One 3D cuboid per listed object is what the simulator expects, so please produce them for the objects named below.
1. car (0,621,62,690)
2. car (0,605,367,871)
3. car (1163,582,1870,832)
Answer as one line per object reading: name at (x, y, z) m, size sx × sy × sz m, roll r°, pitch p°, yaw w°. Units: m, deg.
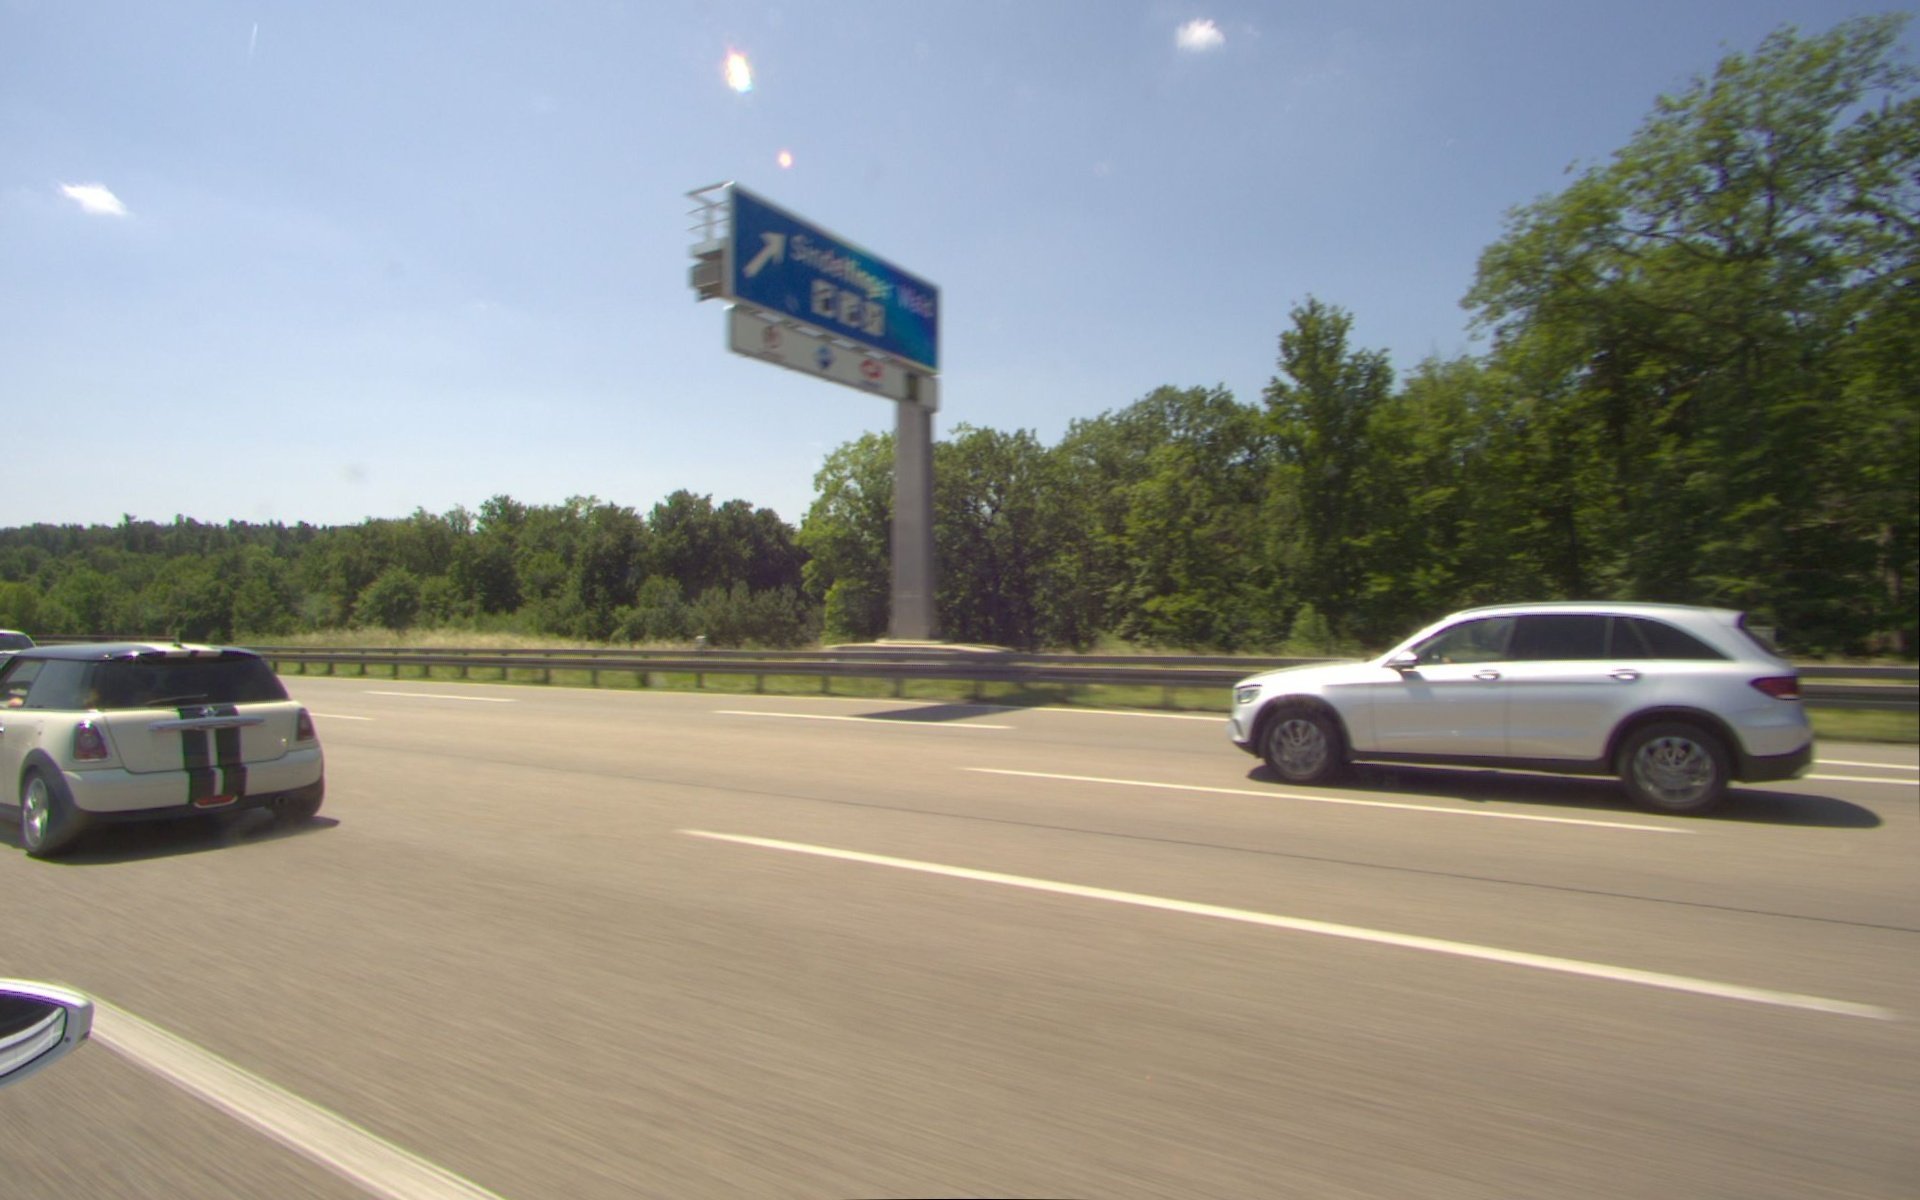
car at (-22.440, 1.236, 22.882) m, size 4.312 × 1.453 × 1.663 m, roll -1°, pitch 1°, yaw 32°
car at (-6.701, 0.862, 7.986) m, size 3.943 × 1.572 × 1.837 m, roll 1°, pitch 0°, yaw 33°
car at (4.650, 0.768, 9.165) m, size 5.163 × 1.753 × 1.798 m, roll 0°, pitch -1°, yaw 32°
